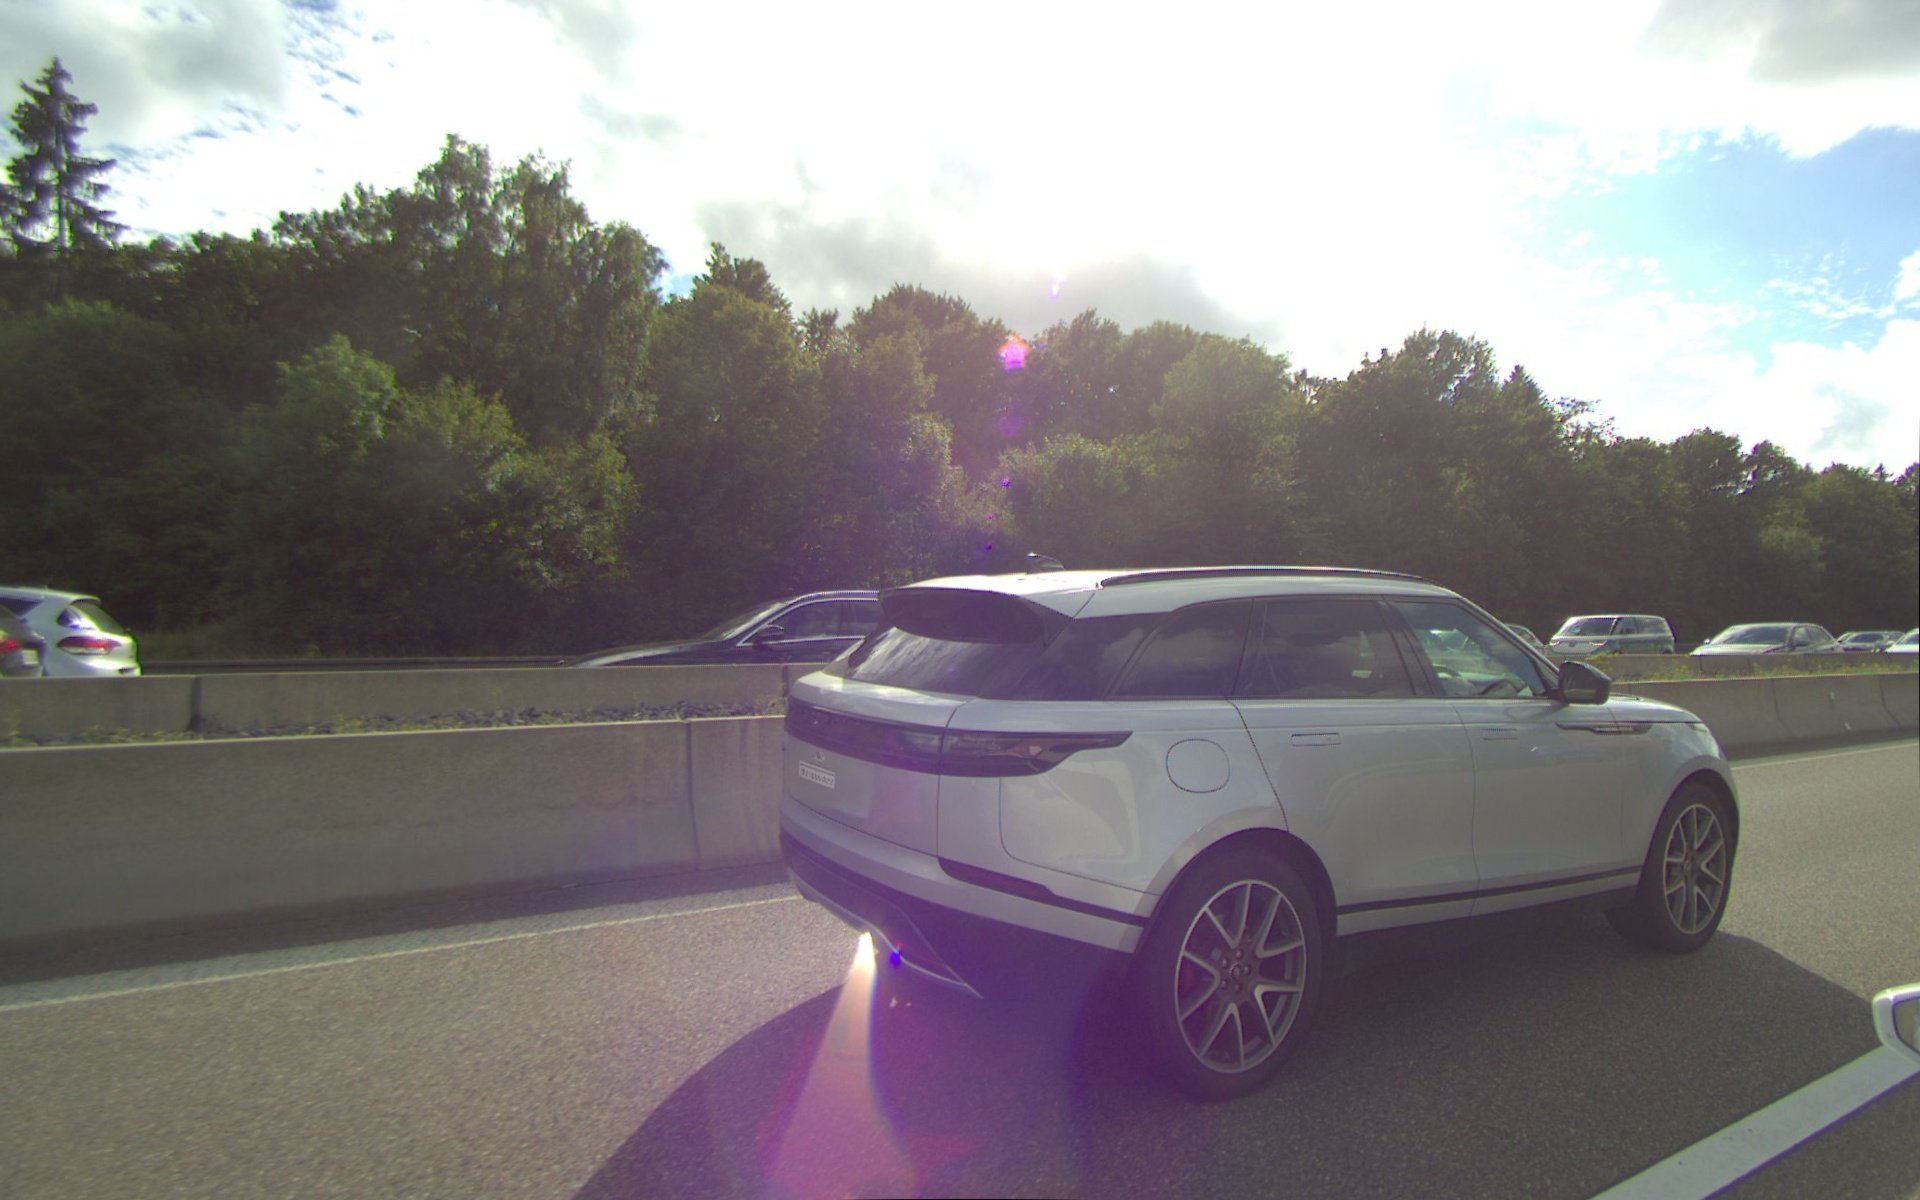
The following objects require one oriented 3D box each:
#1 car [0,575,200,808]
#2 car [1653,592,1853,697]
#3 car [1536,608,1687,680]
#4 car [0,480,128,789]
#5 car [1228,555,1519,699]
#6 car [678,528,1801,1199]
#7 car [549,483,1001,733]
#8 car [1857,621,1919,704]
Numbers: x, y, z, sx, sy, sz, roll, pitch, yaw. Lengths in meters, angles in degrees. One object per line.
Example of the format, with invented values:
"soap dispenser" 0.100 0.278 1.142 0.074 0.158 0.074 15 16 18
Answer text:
"car" -9.717 0.755 9.269 3.952 2.040 1.985 3 -1 -29
"car" 17.073 0.958 21.600 3.952 2.040 1.985 3 -1 -29
"car" 20.679 1.408 31.841 4.796 2.040 1.985 3 -1 -29
"car" -8.581 0.110 6.515 4.493 2.040 1.985 3 -1 -29
"car" 6.042 0.427 14.599 3.952 1.817 1.811 3 -1 -29
"car" 1.530 0.729 4.497 5.047 1.628 1.890 2 -1 -31
"car" -1.824 0.163 10.042 3.952 2.040 1.985 3 -1 -29
"car" 24.108 1.580 24.443 4.494 1.889 1.950 3 -1 -28
